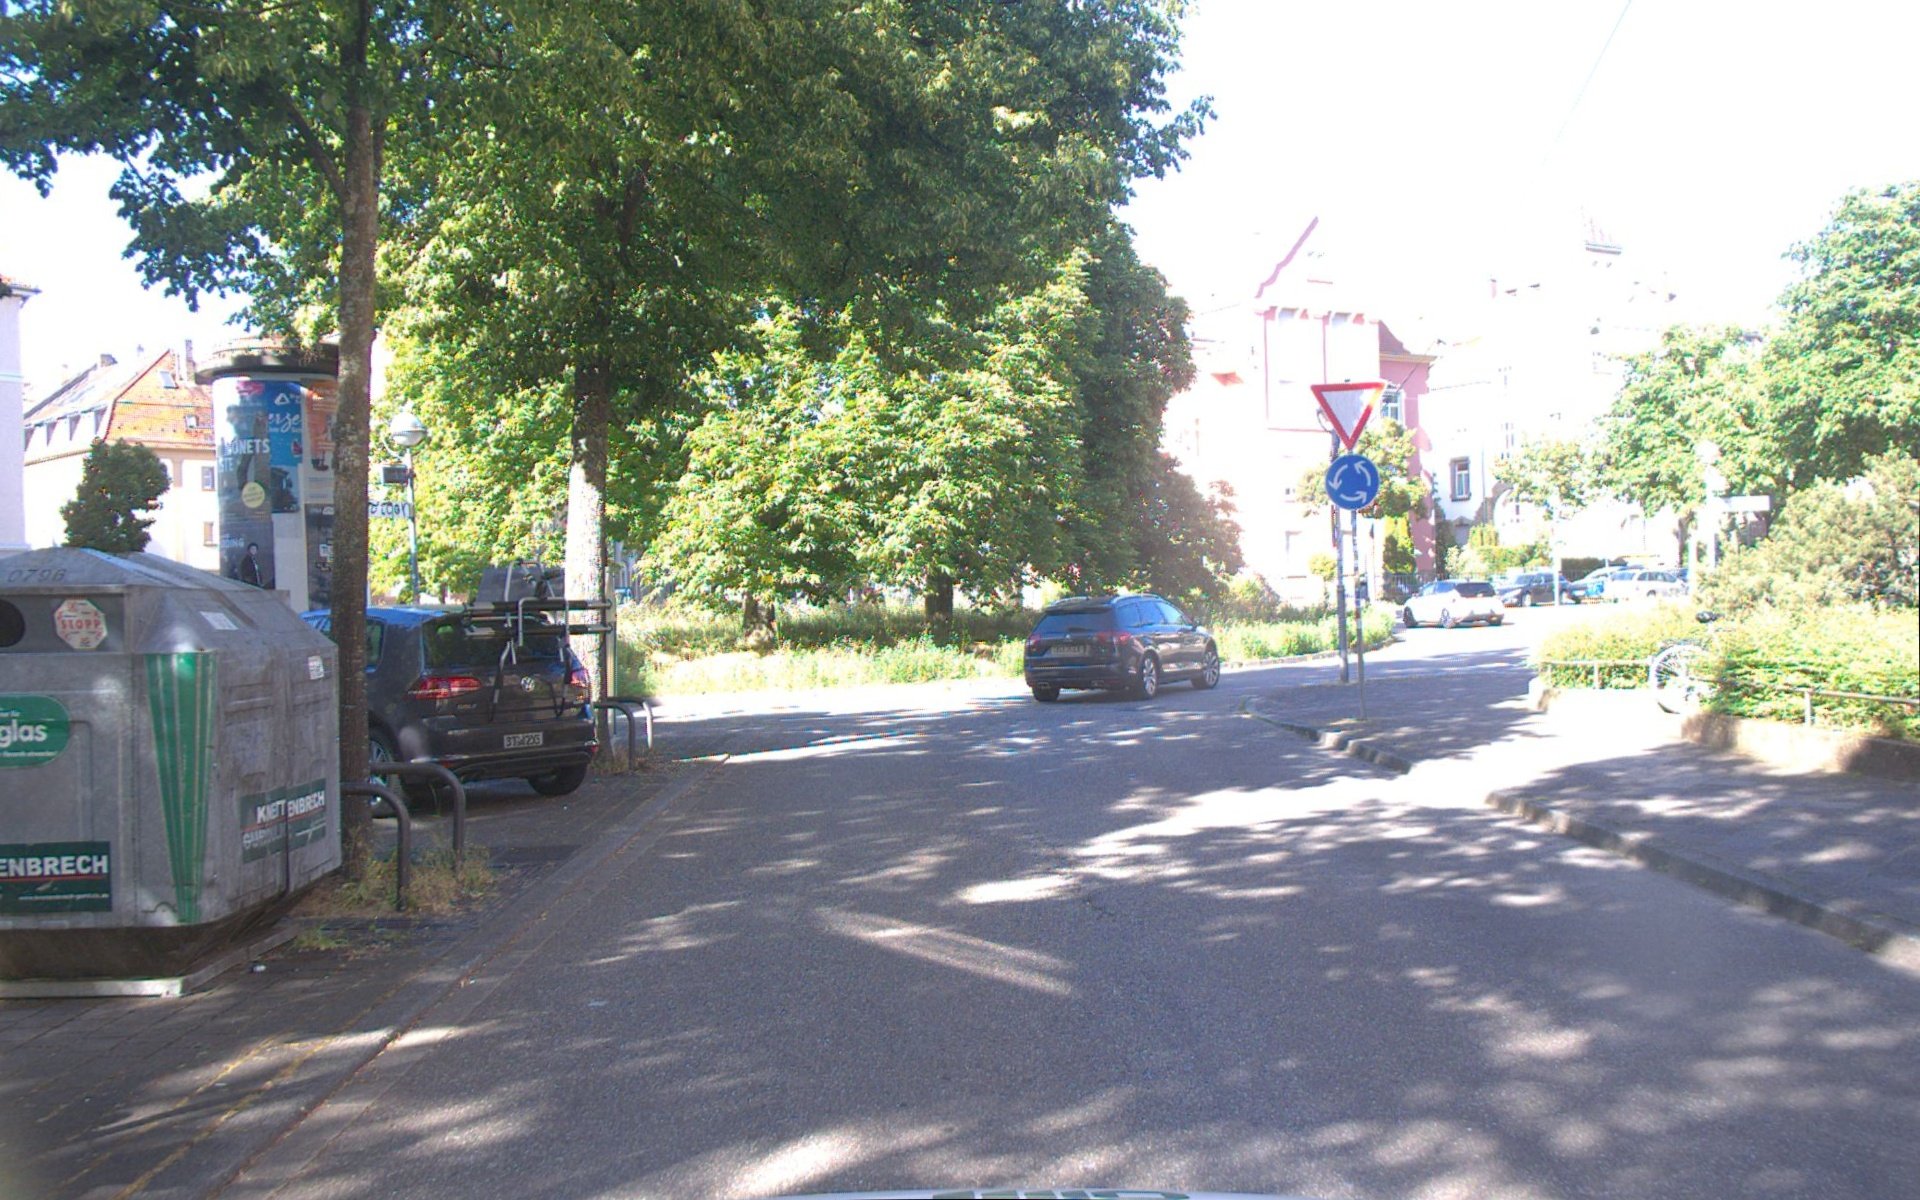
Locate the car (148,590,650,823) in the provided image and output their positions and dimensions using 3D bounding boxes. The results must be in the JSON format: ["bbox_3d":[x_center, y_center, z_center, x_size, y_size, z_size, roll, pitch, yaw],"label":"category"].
[{"bbox_3d":[-4.407,0.731,12.720,4.063,1.507,1.767,-2,-1,39],"label":"car"}]

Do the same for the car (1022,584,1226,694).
[{"bbox_3d":[2.557,0.558,24.913,1.681,1.509,4.140,-1,-1,27],"label":"car"}]

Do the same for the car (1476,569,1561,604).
[{"bbox_3d":[24.409,-0.602,72.291,3.604,1.393,1.737,-3,1,-36],"label":"car"}]

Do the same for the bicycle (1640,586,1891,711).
[{"bbox_3d":[7.941,0.491,16.387,2.178,1.180,0.388,-2,0,25],"label":"bicycle"}]

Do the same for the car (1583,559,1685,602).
[{"bbox_3d":[26.101,-0.766,64.010,3.922,1.480,1.545,-3,0,-30],"label":"car"}]

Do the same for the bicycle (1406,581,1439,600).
[{"bbox_3d":[20.692,-0.431,74.028,0.469,0.814,2.020,-2,0,-14],"label":"bicycle"}]

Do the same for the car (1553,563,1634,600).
[{"bbox_3d":[28.695,-0.843,74.874,3.429,1.514,1.654,-2,0,-31],"label":"car"}]

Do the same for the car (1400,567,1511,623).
[{"bbox_3d":[15.166,-0.121,50.829,1.684,1.591,3.761,-2,-1,-11],"label":"car"}]
